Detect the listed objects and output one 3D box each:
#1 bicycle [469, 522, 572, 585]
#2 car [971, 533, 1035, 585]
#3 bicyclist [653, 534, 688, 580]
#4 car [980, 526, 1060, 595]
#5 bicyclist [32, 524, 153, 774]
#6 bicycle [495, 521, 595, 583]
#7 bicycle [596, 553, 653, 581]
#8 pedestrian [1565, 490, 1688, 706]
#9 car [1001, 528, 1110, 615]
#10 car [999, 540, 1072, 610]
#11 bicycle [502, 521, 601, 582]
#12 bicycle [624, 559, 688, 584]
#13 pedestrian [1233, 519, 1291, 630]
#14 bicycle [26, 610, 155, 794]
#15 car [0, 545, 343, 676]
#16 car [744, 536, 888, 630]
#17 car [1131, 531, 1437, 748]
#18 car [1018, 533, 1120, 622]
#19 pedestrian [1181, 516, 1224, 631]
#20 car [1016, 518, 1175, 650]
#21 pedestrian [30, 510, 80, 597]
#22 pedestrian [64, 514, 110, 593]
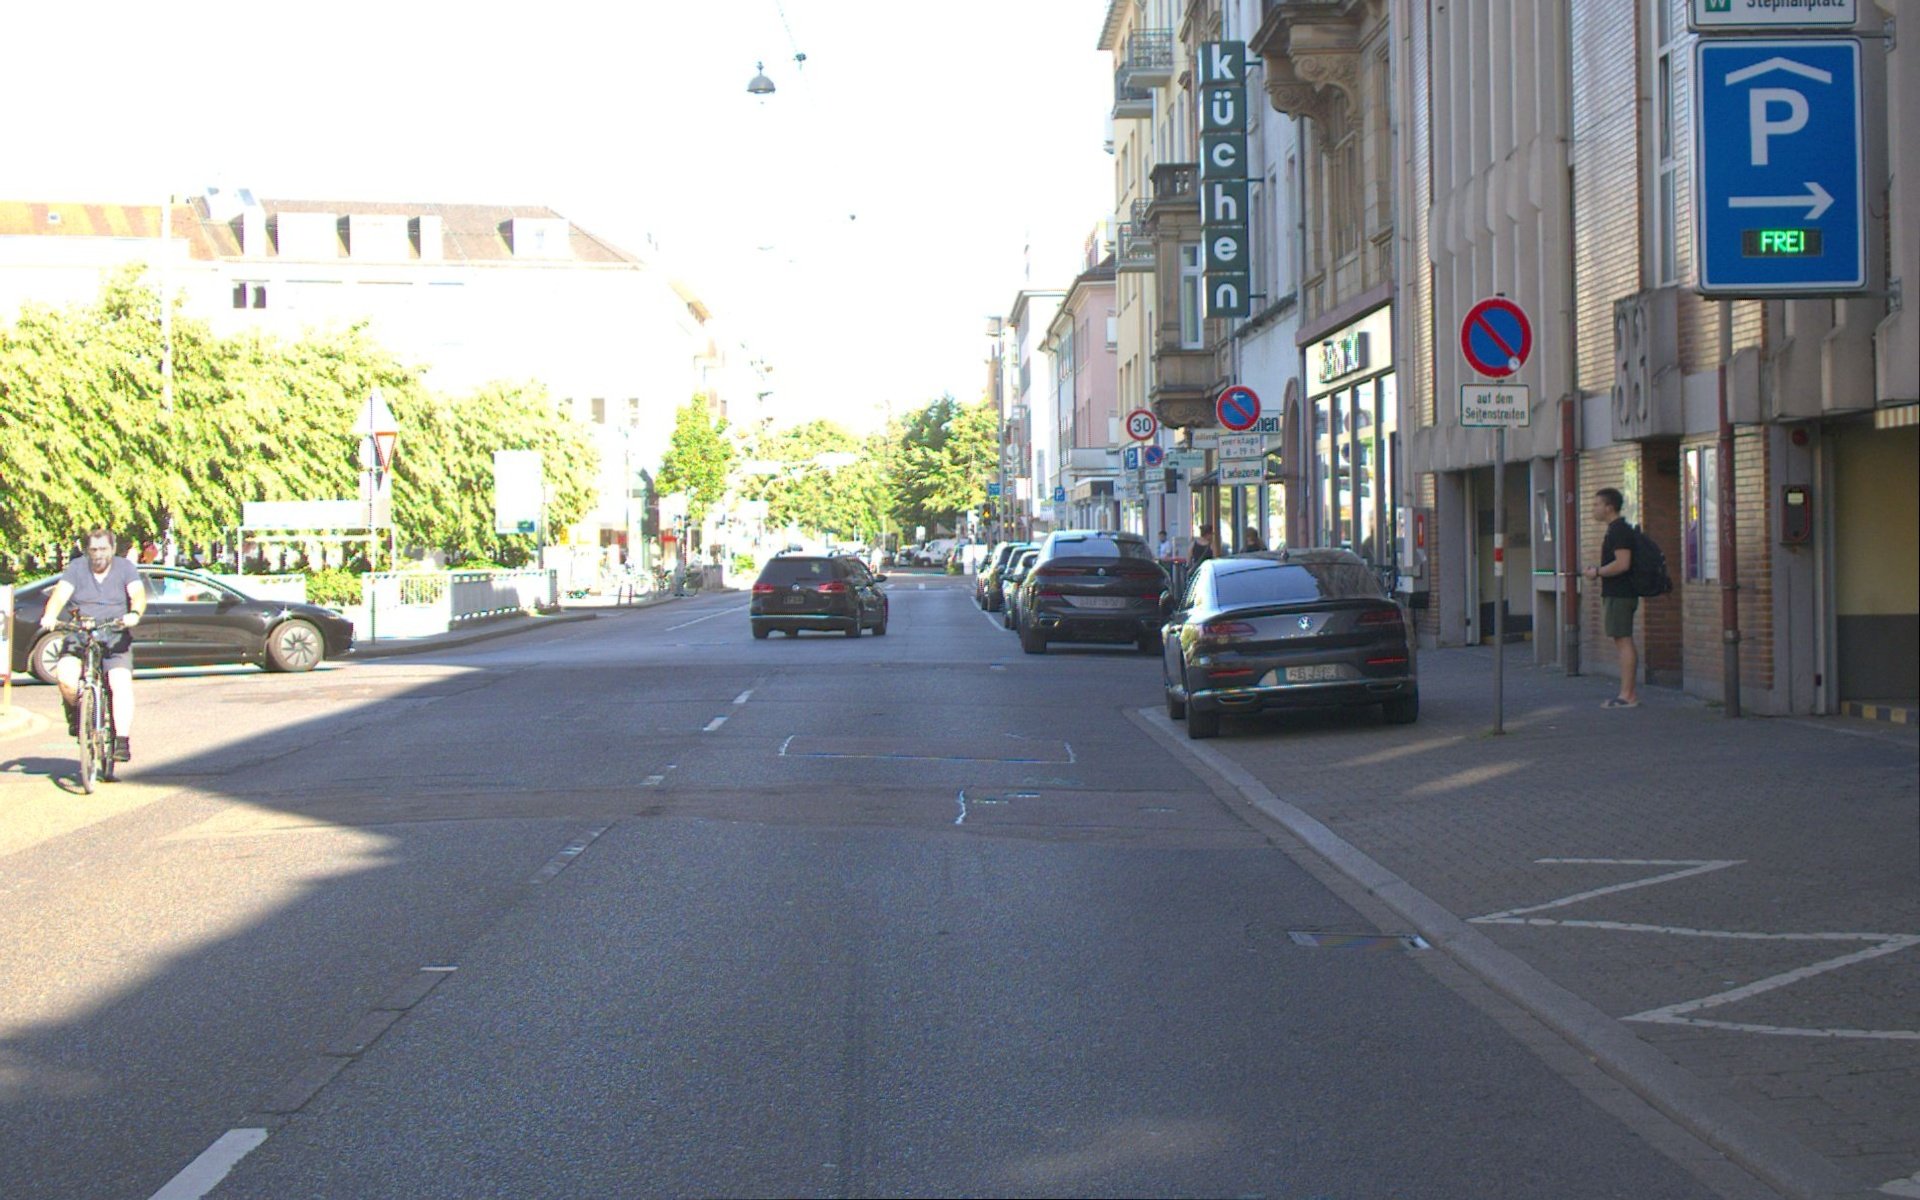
[{"bbox_3d":[-14.002,-1.487,109.645,3.122,2.007,0.908,0,1,9],"label":"bicycle"},{"bbox_3d":[1.261,-1.191,101.258,1.792,1.455,3.868,1,0,0],"label":"car"},{"bbox_3d":[-10.613,-1.592,126.073,1.146,1.680,0.915,0,1,3],"label":"bicyclist"},{"bbox_3d":[1.443,-0.937,83.826,1.716,1.630,4.085,1,0,-2],"label":"car"},{"bbox_3d":[-5.907,0.318,23.449,0.696,1.647,1.036,-2,1,-11],"label":"bicyclist"},{"bbox_3d":[-13.603,-1.566,112.638,3.122,2.007,0.908,0,1,9],"label":"bicycle"},{"bbox_3d":[-12.083,-1.192,123.901,2.011,1.018,0.762,-1,1,-4],"label":"bicycle"},{"bbox_3d":[5.211,-0.025,26.902,0.691,1.630,0.889,-3,1,-1],"label":"pedestrian"},{"bbox_3d":[1.780,-0.565,65.141,1.839,1.541,4.229,1,1,-1],"label":"car"},{"bbox_3d":[1.707,-0.583,78.108,1.613,1.541,2.855,1,1,1],"label":"car"},{"bbox_3d":[-13.512,-1.611,113.717,3.122,2.007,0.908,0,1,9],"label":"bicycle"},{"bbox_3d":[-11.143,-1.046,126.114,2.244,0.880,0.923,0,1,3],"label":"bicycle"},{"bbox_3d":[4.686,-0.401,53.338,0.801,1.669,0.589,-3,1,2],"label":"pedestrian"},{"bbox_3d":[-5.902,0.667,23.419,0.705,1.142,1.968,-2,1,-11],"label":"bicycle"},{"bbox_3d":[-10.191,0.106,43.253,4.479,1.475,2.002,-2,1,-19],"label":"car"},{"bbox_3d":[-2.363,-0.311,57.414,1.935,1.482,4.271,0,1,4],"label":"car"},{"bbox_3d":[2.567,0.248,28.390,1.917,1.473,4.965,-5,1,0],"label":"car"},{"bbox_3d":[1.861,-0.409,59.487,1.608,1.444,3.831,1,1,0],"label":"car"},{"bbox_3d":[3.766,-0.414,53.470,0.620,1.760,0.518,-1,1,2],"label":"pedestrian"},{"bbox_3d":[1.834,-0.270,47.866,1.973,1.719,4.824,1,1,0],"label":"car"},{"bbox_3d":[-21.938,-1.121,83.335,0.733,2.101,0.966,0,1,22],"label":"pedestrian"},{"bbox_3d":[-23.391,-1.258,92.106,0.733,2.101,0.966,0,1,22],"label":"pedestrian"}]
